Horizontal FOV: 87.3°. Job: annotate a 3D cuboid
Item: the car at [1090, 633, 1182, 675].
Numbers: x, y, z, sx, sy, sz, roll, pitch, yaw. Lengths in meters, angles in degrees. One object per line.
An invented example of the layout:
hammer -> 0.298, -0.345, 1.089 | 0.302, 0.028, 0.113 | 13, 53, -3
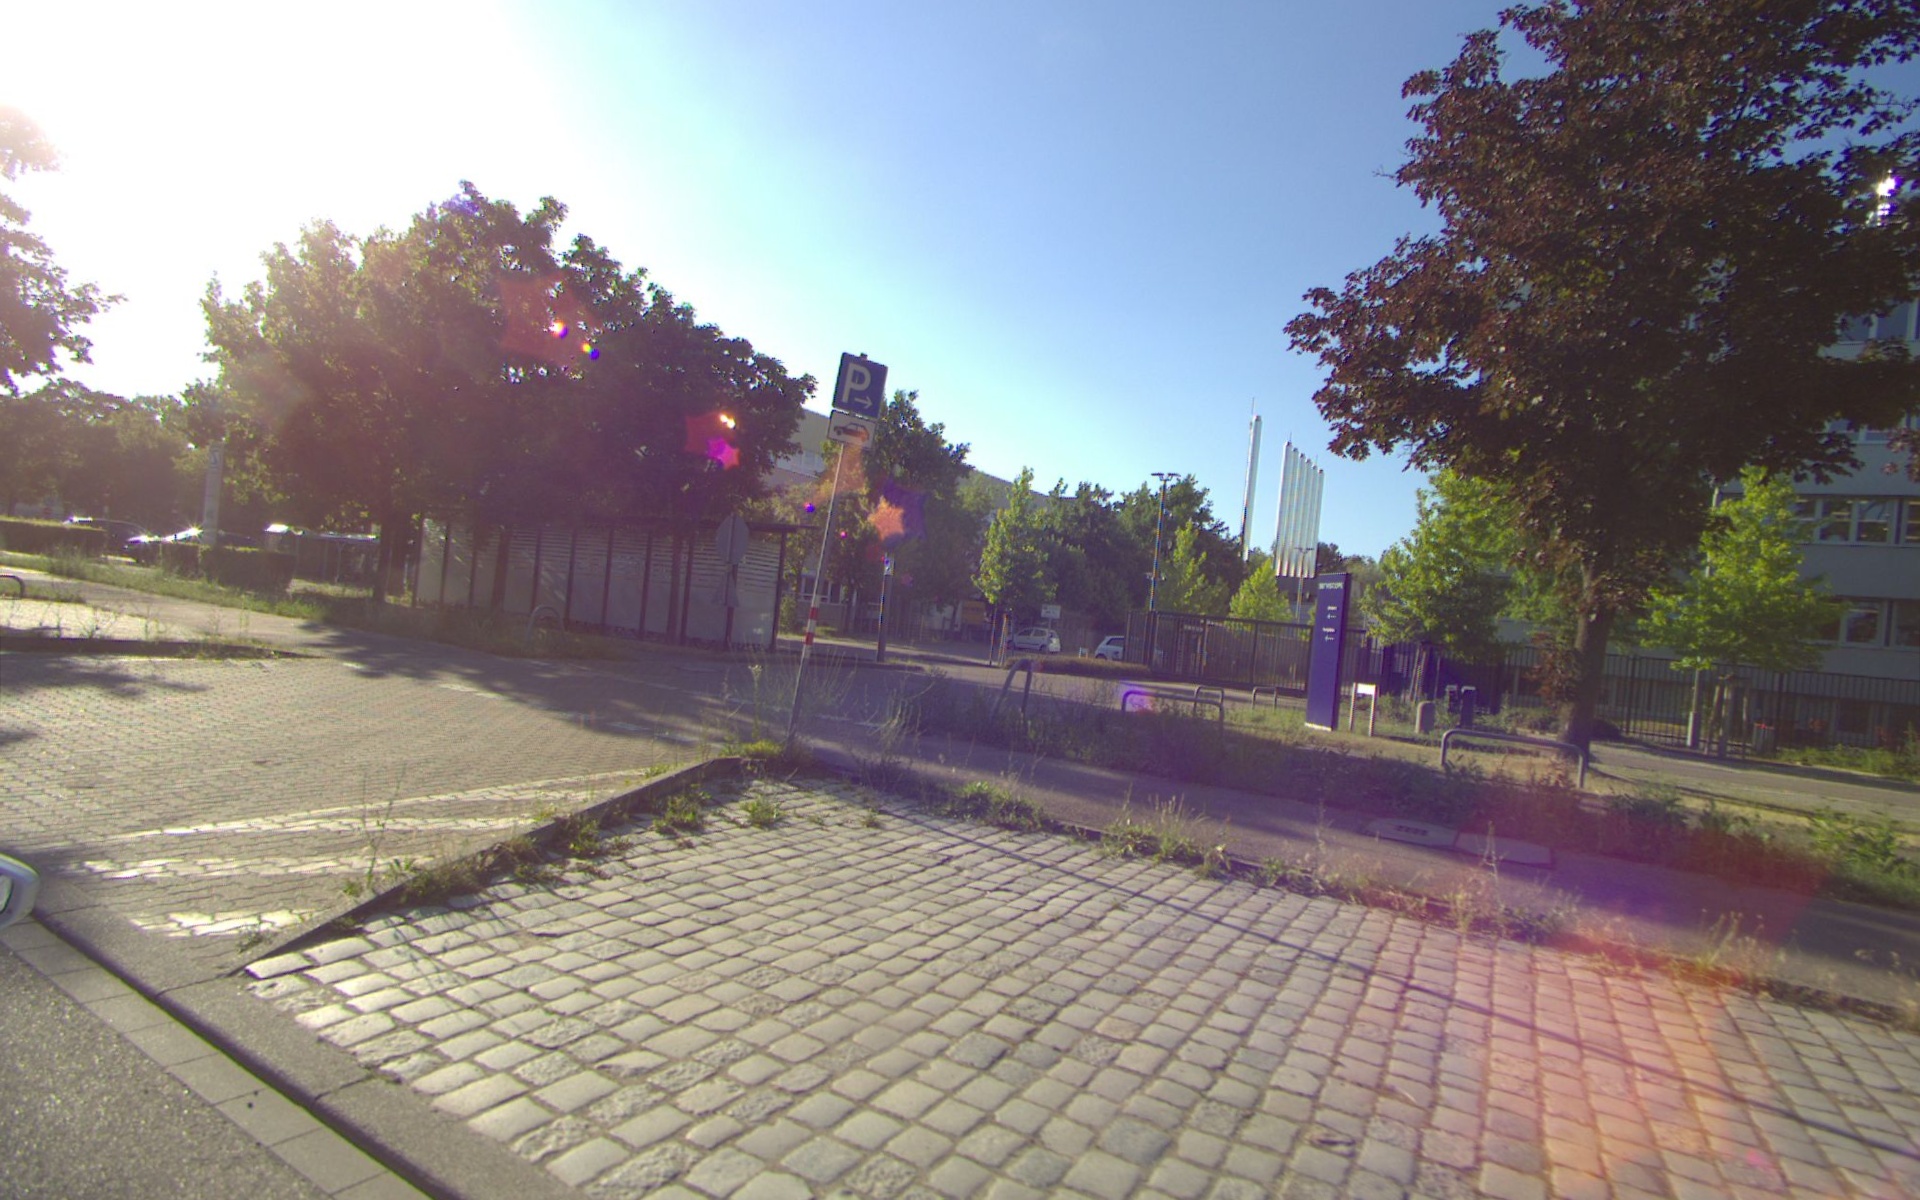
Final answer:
car -> 8.125, 2.486, 46.629 | 3.764, 1.549, 1.619 | 5, -1, 32

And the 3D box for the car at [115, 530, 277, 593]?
car -> -29.469, -1.458, 38.962 | 2.025, 1.725, 4.439 | 5, -3, 31

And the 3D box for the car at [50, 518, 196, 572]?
car -> -35.623, -2.327, 42.928 | 1.968, 1.726, 4.361 | 5, -1, 34

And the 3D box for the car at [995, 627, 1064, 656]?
car -> 4.329, 2.569, 62.730 | 3.723, 1.415, 1.867 | 5, -1, 32
